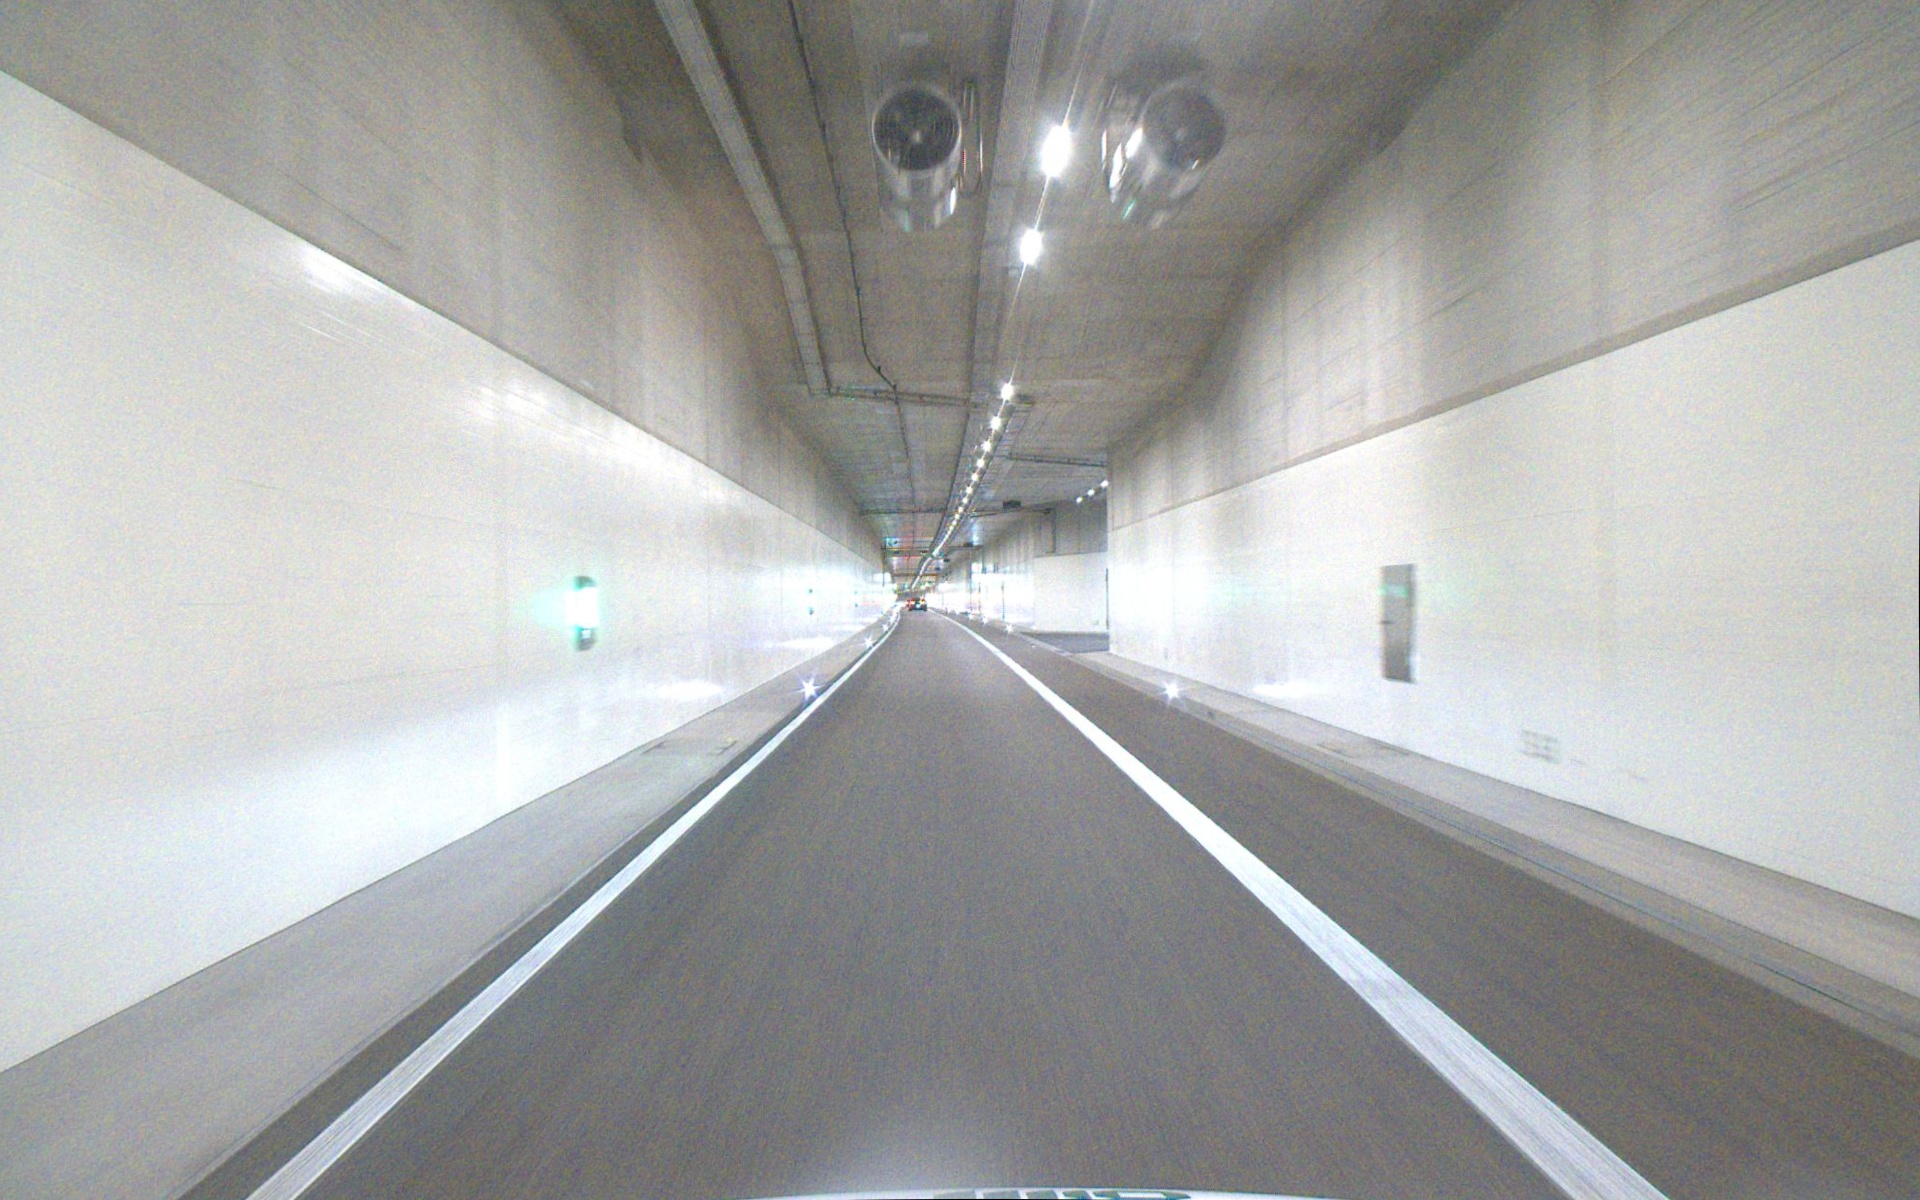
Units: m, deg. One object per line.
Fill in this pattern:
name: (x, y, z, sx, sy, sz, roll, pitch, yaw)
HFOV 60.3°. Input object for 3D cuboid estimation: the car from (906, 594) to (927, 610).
car: (-4.420, 0.186, 168.022, 1.954, 1.445, 3.998, -3, 0, -2)
